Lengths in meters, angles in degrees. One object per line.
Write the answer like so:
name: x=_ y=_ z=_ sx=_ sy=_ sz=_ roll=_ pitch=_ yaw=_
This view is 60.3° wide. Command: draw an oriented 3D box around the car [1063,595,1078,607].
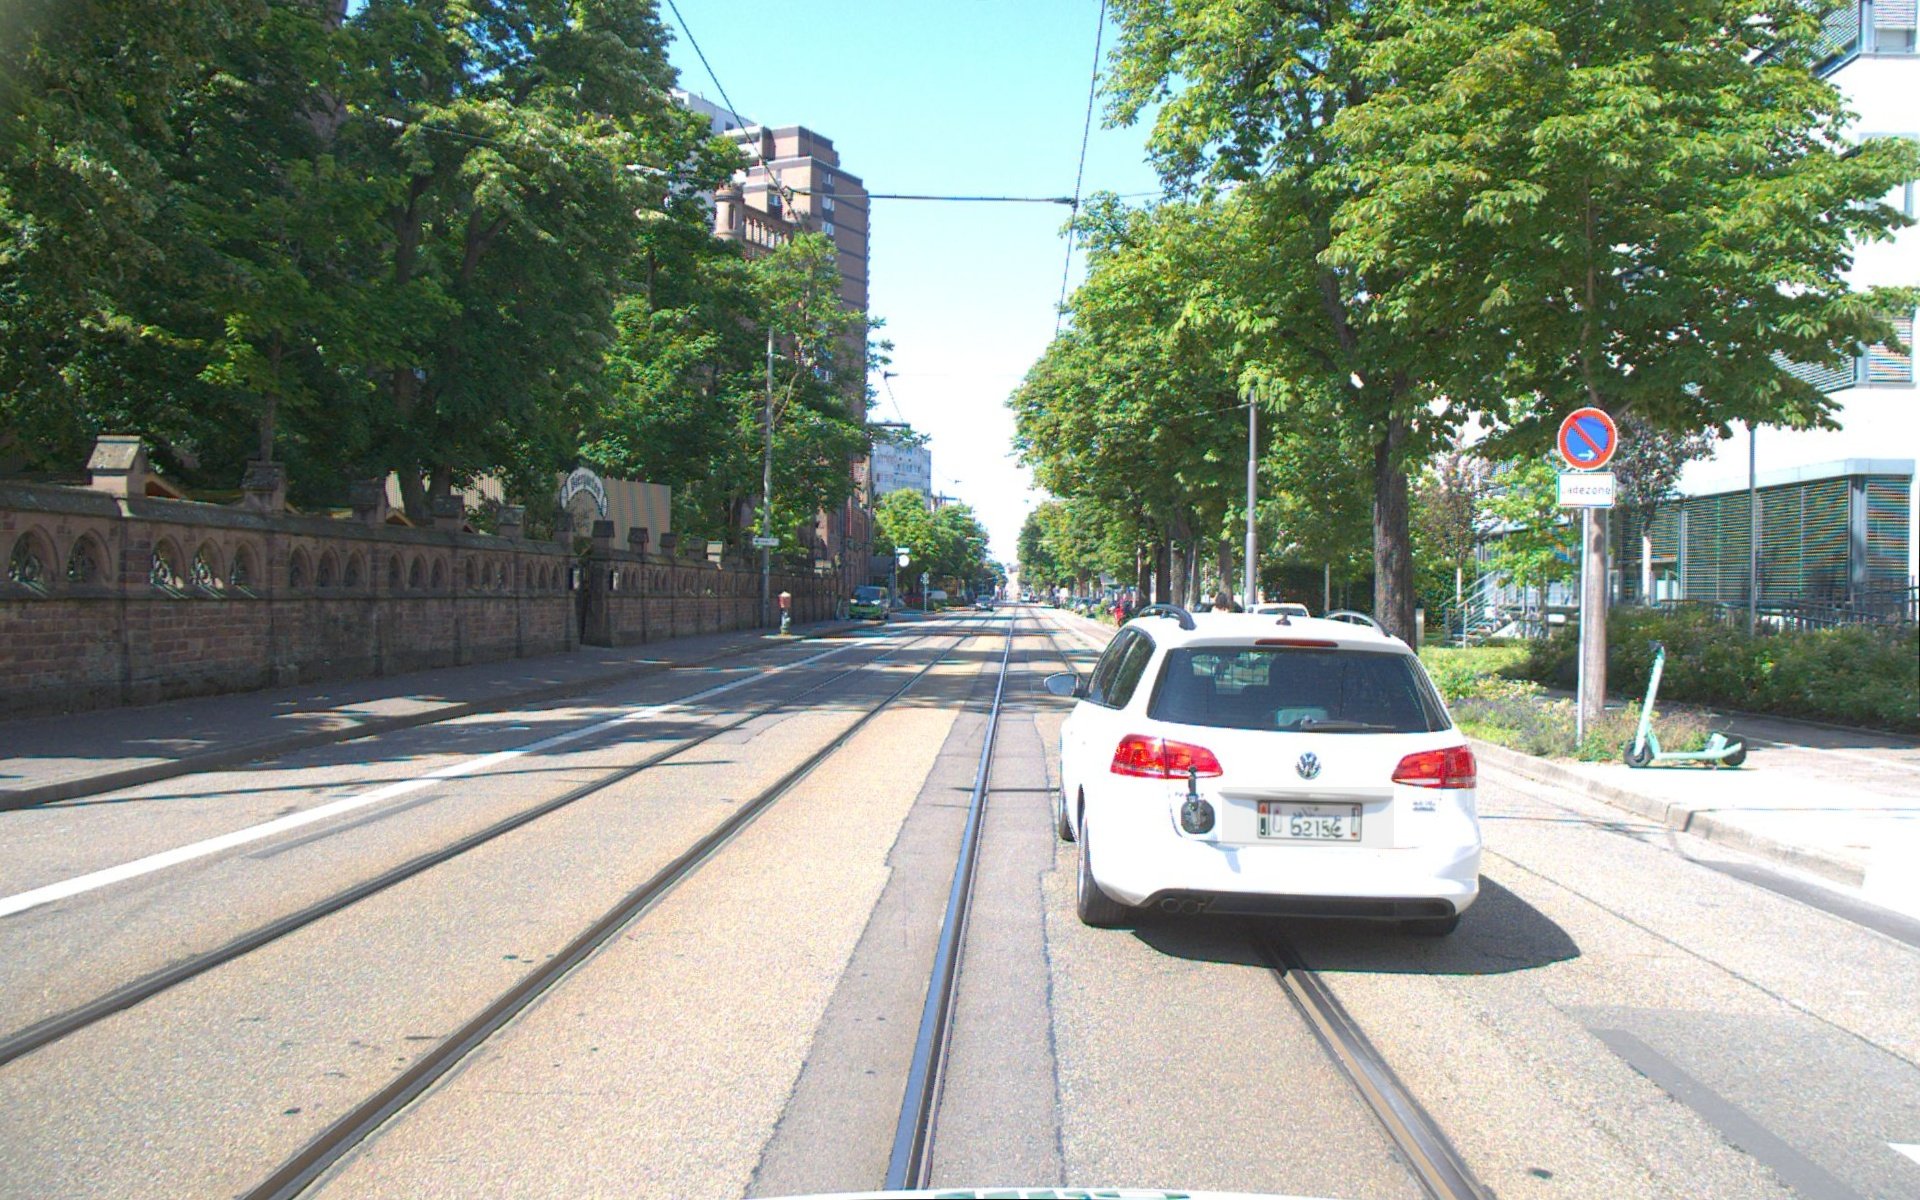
car: x=13.132 y=0.111 z=196.568 sx=1.677 sy=1.425 sz=3.844 roll=0 pitch=0 yaw=3

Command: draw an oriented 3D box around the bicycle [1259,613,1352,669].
bicycle: x=7.438 y=0.877 z=35.679 sx=1.847 sy=1.101 sz=0.550 roll=3 pitch=0 yaw=-1

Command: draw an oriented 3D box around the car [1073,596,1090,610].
car: x=12.140 y=0.291 z=165.583 sx=1.677 sy=1.425 sz=3.844 roll=0 pitch=0 yaw=3

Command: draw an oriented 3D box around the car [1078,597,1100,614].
car: x=10.949 y=0.489 z=140.610 sx=1.678 sy=1.425 sz=3.844 roll=0 pitch=0 yaw=2

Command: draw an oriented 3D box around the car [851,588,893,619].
car: x=-5.287 y=0.208 z=99.902 sx=1.951 sy=1.788 sz=4.714 roll=0 pitch=0 yaw=5

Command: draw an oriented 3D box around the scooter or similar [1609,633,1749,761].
scooter or similar: x=6.894 y=0.919 z=15.886 sx=1.118 sy=1.174 sz=0.493 roll=1 pitch=0 yaw=8

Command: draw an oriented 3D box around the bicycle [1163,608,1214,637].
bicycle: x=8.167 y=0.805 z=59.082 sx=1.751 sy=1.028 sz=0.488 roll=0 pitch=0 yaw=-3

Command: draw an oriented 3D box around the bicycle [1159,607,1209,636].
bicycle: x=8.157 y=0.790 z=60.356 sx=1.751 sy=1.028 sz=0.488 roll=0 pitch=0 yaw=-3

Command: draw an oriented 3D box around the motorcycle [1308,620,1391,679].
motorcycle: x=7.287 y=0.922 z=30.982 sx=1.435 sy=1.064 sz=0.534 roll=0 pitch=0 yaw=-1

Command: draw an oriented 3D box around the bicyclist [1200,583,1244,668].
bicyclist: x=5.212 y=0.505 z=32.941 sx=0.769 sy=1.658 sz=0.738 roll=0 pitch=0 yaw=2

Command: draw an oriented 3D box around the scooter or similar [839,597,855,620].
scooter or similar: x=-5.953 y=0.430 z=87.162 sx=0.413 sy=1.221 sz=1.144 roll=0 pitch=0 yaw=17

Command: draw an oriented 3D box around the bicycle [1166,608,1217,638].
bicycle: x=8.189 y=0.813 z=58.498 sx=1.751 sy=1.028 sz=0.488 roll=0 pitch=0 yaw=-3

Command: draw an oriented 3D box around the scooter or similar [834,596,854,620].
scooter or similar: x=-5.861 y=0.411 z=83.660 sx=0.398 sy=1.175 sz=1.139 roll=0 pitch=0 yaw=36

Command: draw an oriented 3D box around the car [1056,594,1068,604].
car: x=13.996 y=-0.122 z=226.939 sx=1.677 sy=1.425 sz=3.844 roll=0 pitch=0 yaw=3

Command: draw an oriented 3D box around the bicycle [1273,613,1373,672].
bicycle: x=7.417 y=0.868 z=33.824 sx=1.872 sy=1.101 sz=0.550 roll=3 pitch=0 yaw=-1

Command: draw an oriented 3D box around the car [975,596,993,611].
car: x=2.204 y=0.318 z=150.882 sx=1.462 sy=1.409 sz=3.644 roll=0 pitch=0 yaw=3

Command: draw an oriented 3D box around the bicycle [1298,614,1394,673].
bicycle: x=7.595 y=0.853 z=32.569 sx=1.738 sy=1.139 sz=0.596 roll=0 pitch=0 yaw=-1

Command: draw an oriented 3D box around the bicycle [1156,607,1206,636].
bicycle: x=8.139 y=0.783 z=60.877 sx=1.751 sy=1.028 sz=0.488 roll=0 pitch=0 yaw=-3

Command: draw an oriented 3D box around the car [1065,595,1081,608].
car: x=12.644 y=0.180 z=185.341 sx=1.677 sy=1.425 sz=3.844 roll=0 pitch=0 yaw=3

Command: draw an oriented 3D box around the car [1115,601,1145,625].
car: x=10.341 y=0.779 z=100.703 sx=1.677 sy=1.425 sz=3.845 roll=0 pitch=0 yaw=4

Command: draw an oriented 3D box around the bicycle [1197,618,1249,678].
bicycle: x=5.200 y=0.934 z=32.830 sx=0.794 sy=1.097 sz=2.013 roll=1 pitch=0 yaw=3

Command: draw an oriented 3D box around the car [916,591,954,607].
car: x=-2.887 y=-0.123 z=192.166 sx=3.951 sy=1.847 sz=1.977 roll=0 pitch=0 yaw=-34

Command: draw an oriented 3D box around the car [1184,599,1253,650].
car: x=8.027 y=0.730 z=51.606 sx=1.629 sy=1.469 sz=4.635 roll=0 pitch=0 yaw=3

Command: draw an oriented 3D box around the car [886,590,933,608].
car: x=-4.855 y=-0.078 z=158.854 sx=4.055 sy=1.557 sz=1.922 roll=3 pitch=1 yaw=-19

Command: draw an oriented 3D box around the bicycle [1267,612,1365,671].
bicycle: x=7.399 y=0.859 z=34.425 sx=1.873 sy=1.101 sz=0.550 roll=3 pitch=0 yaw=-1

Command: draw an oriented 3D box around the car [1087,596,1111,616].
car: x=10.282 y=0.444 z=122.674 sx=1.677 sy=1.425 sz=3.844 roll=0 pitch=0 yaw=3

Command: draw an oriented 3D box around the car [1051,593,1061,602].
car: x=15.118 y=-0.446 z=260.658 sx=1.677 sy=1.425 sz=3.844 roll=0 pitch=0 yaw=3

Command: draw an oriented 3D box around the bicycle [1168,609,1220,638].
bicycle: x=8.193 y=0.820 z=57.920 sx=1.751 sy=1.028 sz=0.488 roll=0 pitch=0 yaw=-3

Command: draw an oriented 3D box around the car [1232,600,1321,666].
car: x=7.529 y=0.749 z=39.603 sx=1.557 sy=1.476 sz=3.947 roll=0 pitch=0 yaw=3

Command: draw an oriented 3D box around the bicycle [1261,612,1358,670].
bicycle: x=7.400 y=0.863 z=35.038 sx=1.873 sy=1.101 sz=0.550 roll=3 pitch=0 yaw=-1

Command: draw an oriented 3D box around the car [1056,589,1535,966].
car: x=1.461 y=0.709 z=8.779 sx=1.717 sy=1.467 sz=4.413 roll=1 pitch=0 yaw=1

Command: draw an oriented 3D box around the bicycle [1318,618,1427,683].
bicycle: x=7.179 y=0.883 z=28.832 sx=1.738 sy=1.102 sz=0.596 roll=0 pitch=0 yaw=-1
